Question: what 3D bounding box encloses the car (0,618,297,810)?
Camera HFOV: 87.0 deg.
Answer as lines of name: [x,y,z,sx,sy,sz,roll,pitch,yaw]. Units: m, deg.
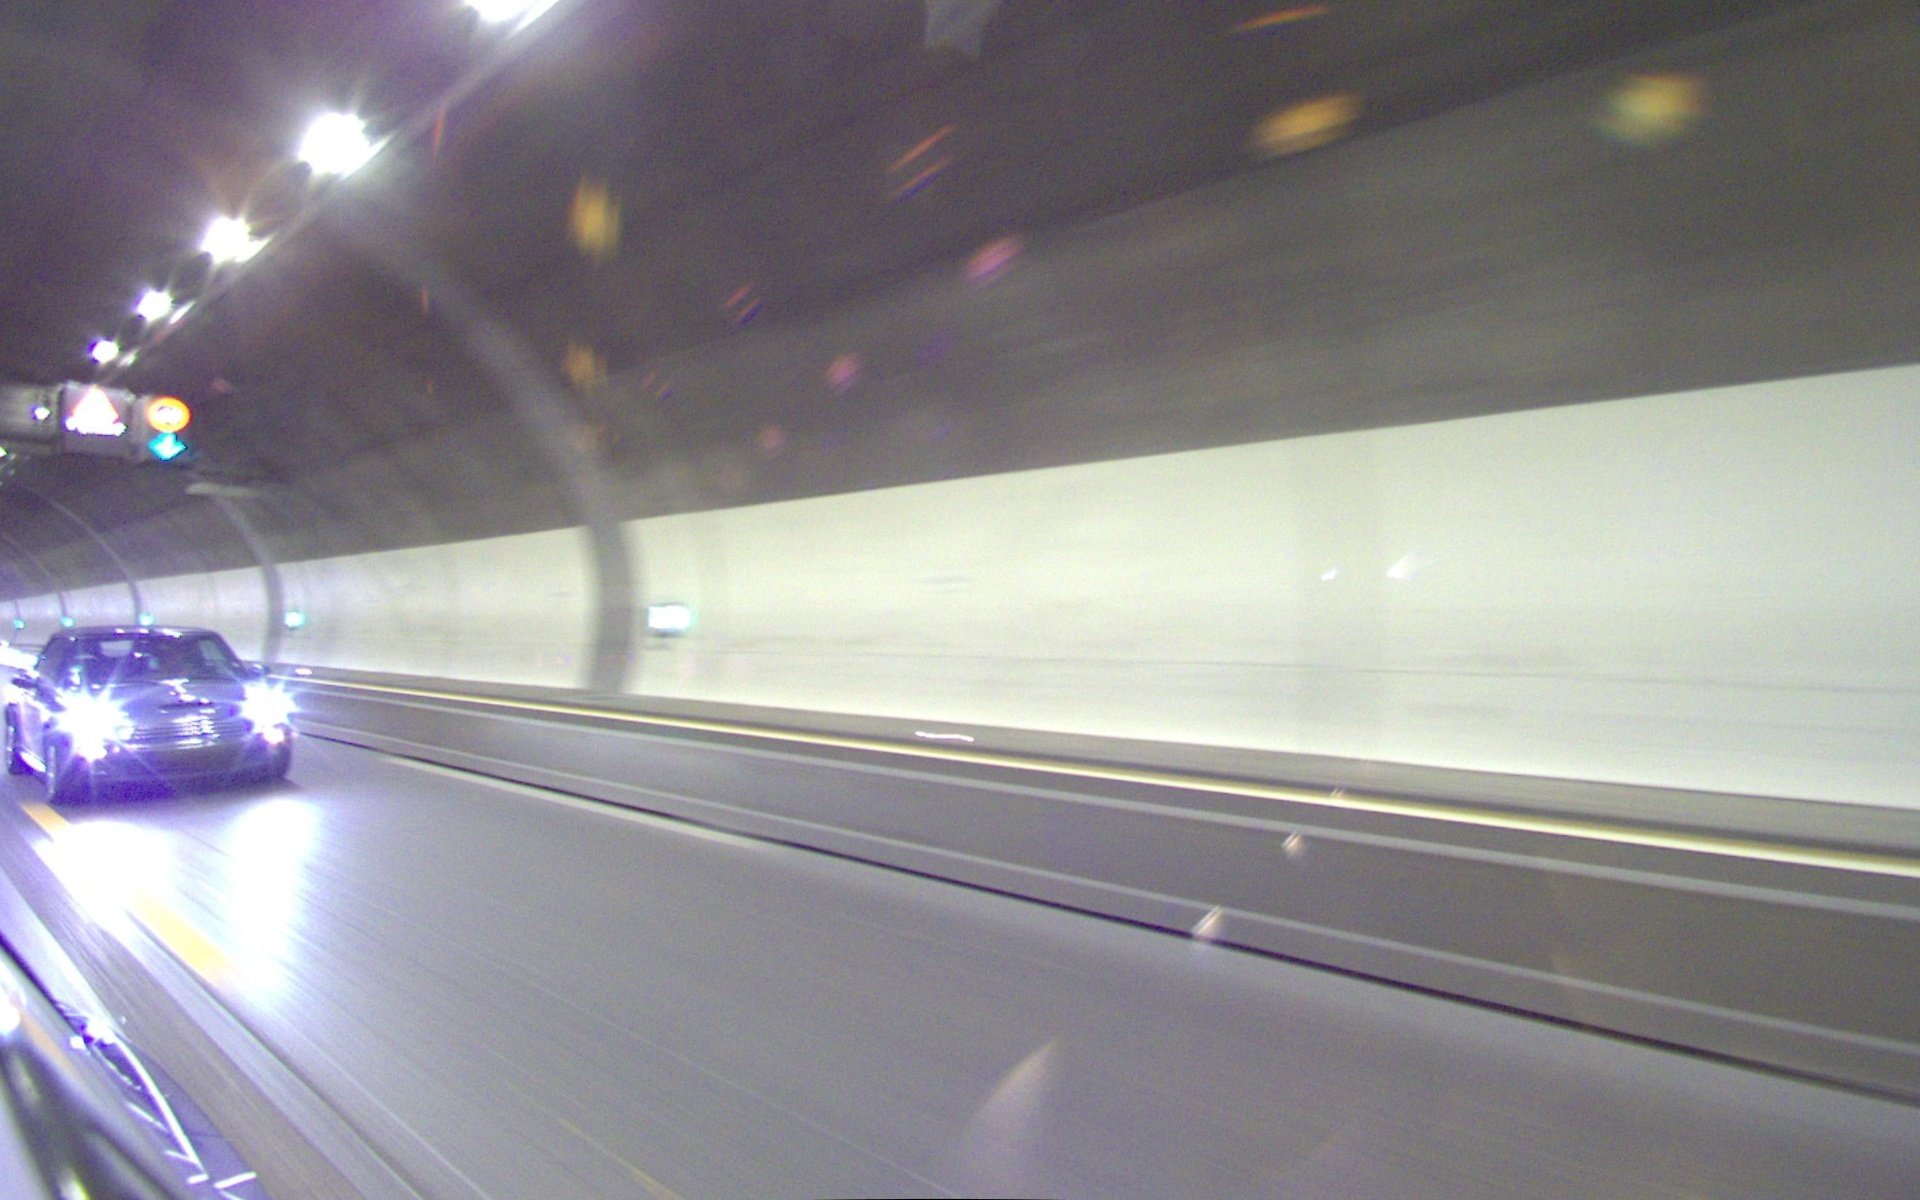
car: [-7.681,0.891,9.413,3.655,1.414,1.635,-1,-1,41]
